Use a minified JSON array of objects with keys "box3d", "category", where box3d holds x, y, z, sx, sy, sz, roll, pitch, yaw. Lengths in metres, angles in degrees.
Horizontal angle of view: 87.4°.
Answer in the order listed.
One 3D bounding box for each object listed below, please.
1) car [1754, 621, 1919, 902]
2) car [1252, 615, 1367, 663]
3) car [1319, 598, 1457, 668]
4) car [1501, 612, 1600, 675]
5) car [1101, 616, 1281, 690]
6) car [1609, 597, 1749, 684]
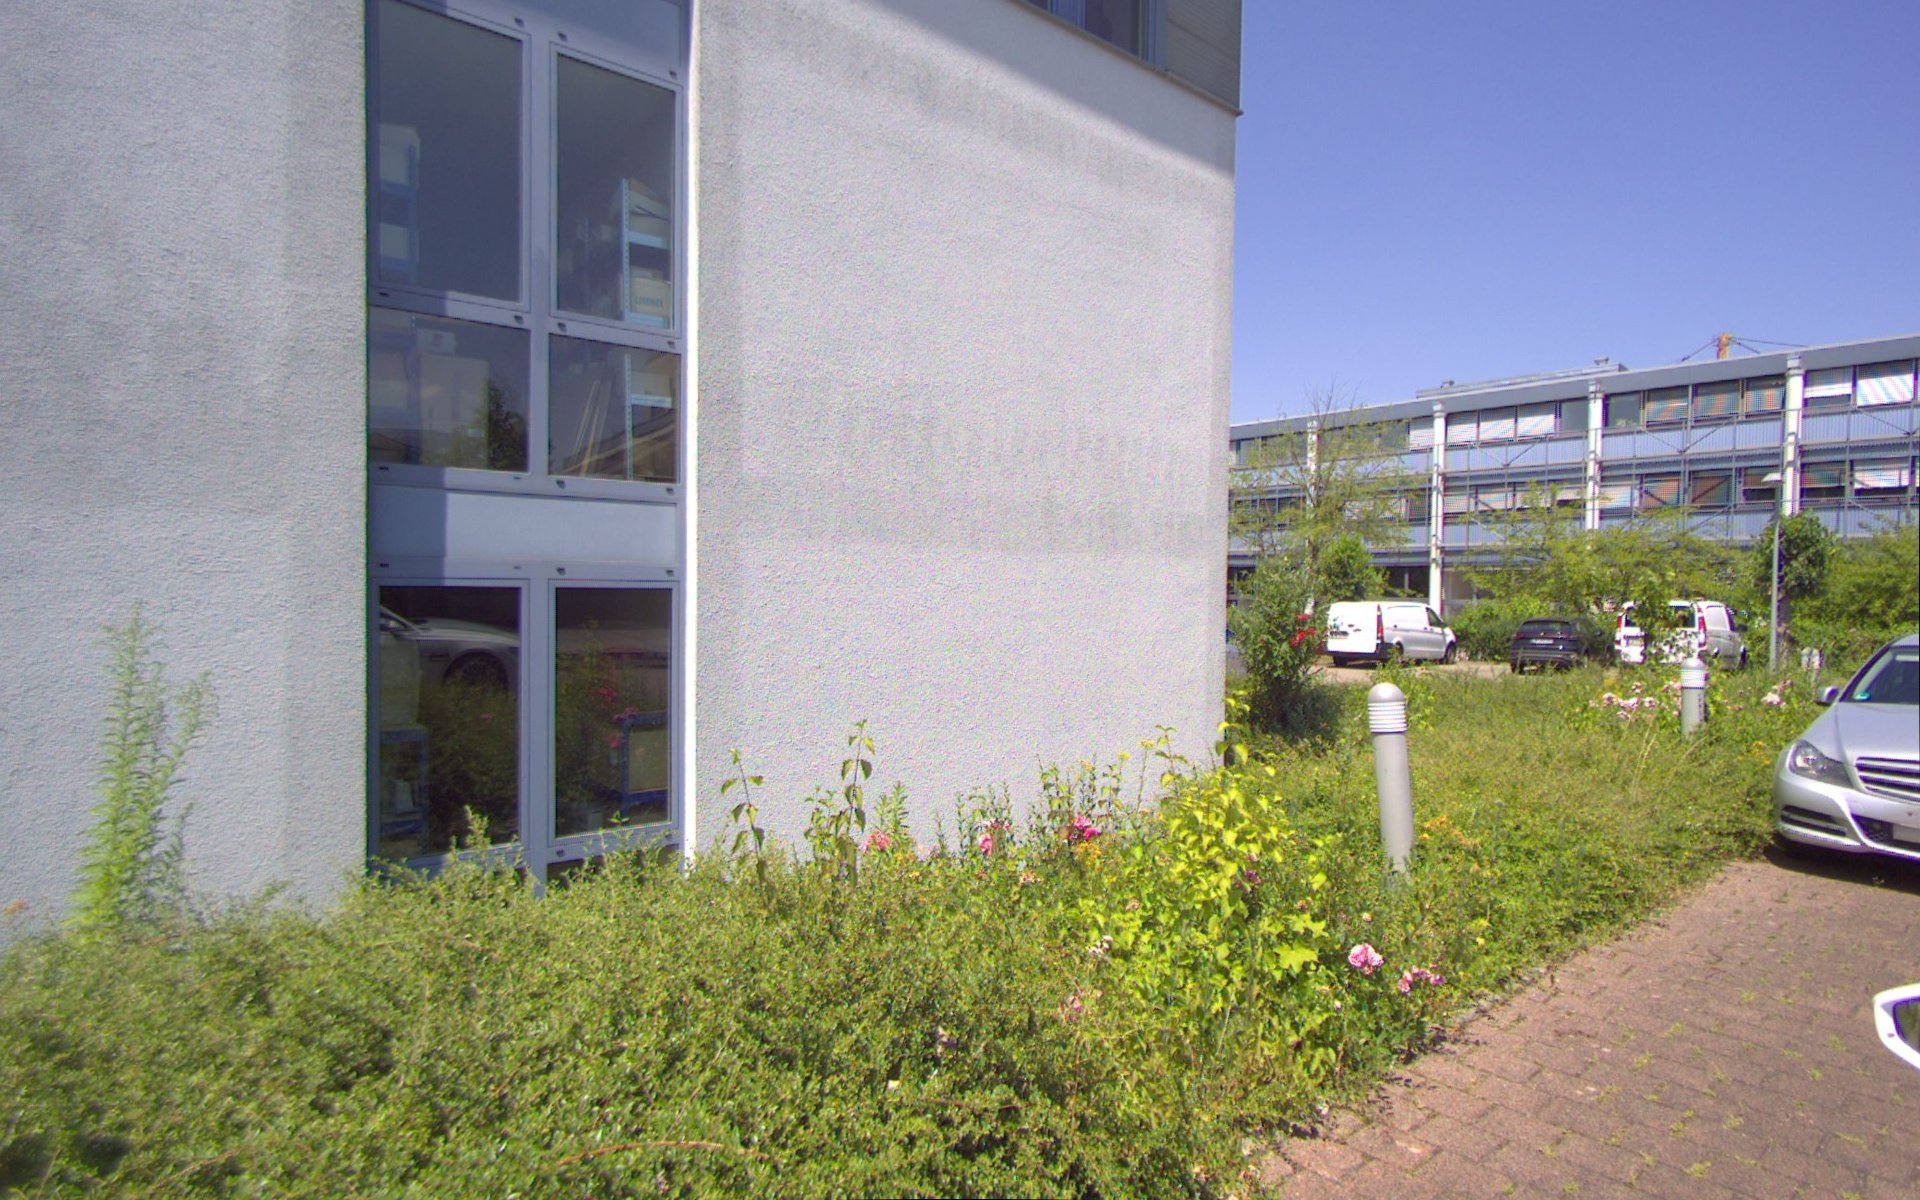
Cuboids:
[{"box3d":[6.756,0.884,6.483,4.112,1.476,1.715,1,-1,-39],"category":"car"},{"box3d":[11.495,1.221,32.932,3.966,1.460,1.768,0,0,-39],"category":"car"},{"box3d":[12.788,0.911,29.866,4.764,1.916,1.865,0,0,-40],"category":"car"},{"box3d":[15.874,1.103,26.915,1.733,1.496,3.982,0,0,39],"category":"car"},{"box3d":[5.371,1.144,23.056,4.450,1.492,1.840,0,0,-42],"category":"car"},{"box3d":[17.596,0.896,24.503,4.773,1.930,1.895,0,0,-43],"category":"car"}]
